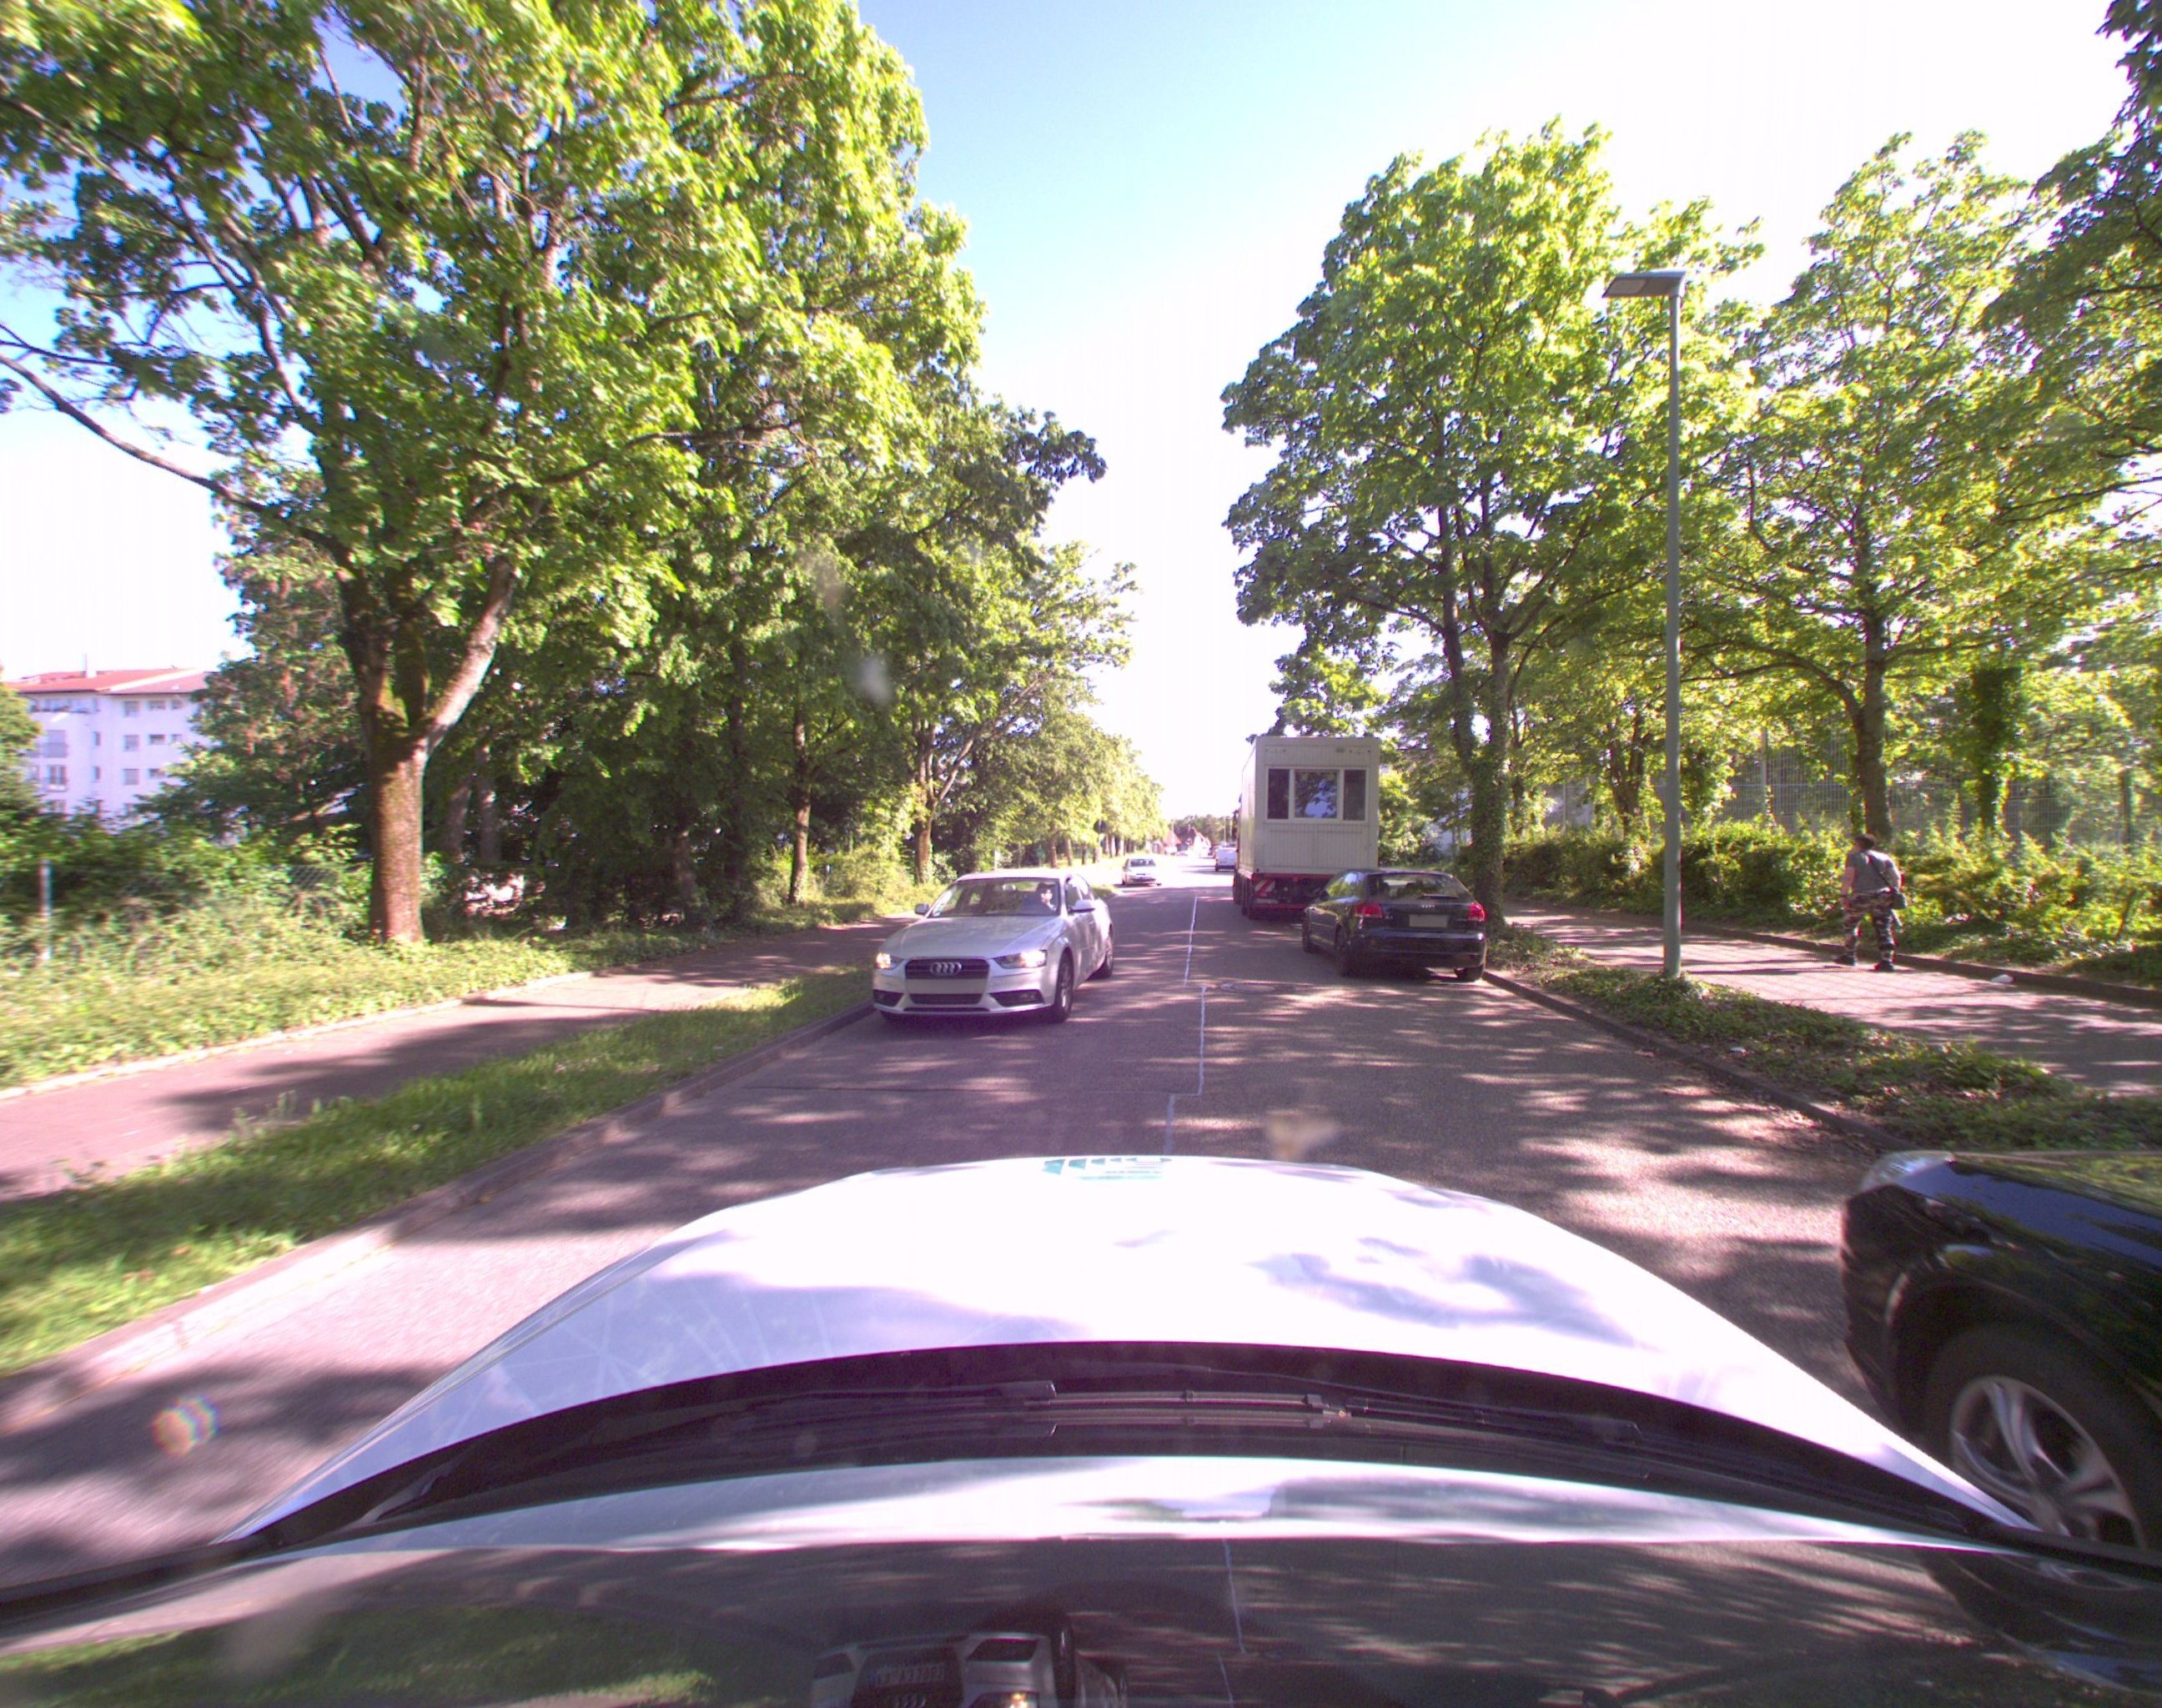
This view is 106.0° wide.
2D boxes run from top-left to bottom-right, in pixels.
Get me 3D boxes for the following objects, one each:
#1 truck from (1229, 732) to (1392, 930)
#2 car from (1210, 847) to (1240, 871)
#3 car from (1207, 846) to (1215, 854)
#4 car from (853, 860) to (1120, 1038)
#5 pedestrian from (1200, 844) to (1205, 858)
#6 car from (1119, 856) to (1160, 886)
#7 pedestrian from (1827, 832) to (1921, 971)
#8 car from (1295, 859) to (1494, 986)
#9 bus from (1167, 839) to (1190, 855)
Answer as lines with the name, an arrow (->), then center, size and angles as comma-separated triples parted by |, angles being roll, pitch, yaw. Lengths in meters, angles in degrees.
truck -> 5.601, -0.525, 21.787 | 2.757, 3.995, 10.371 | 1, 0, 8
car -> 11.222, 0.366, 63.691 | 1.937, 1.843, 4.006 | 0, 0, 5
car -> 29.416, -0.899, 184.343 | 1.771, 1.808, 4.009 | -1, 0, 8
car -> -0.727, 0.826, 8.937 | 1.776, 1.416, 4.116 | -2, 0, 10
pedestrian -> 19.057, -0.447, 127.718 | 0.747, 2.113, 0.801 | 2, 0, 11
car -> 2.930, 0.822, 41.265 | 1.799, 1.420, 3.959 | -2, 0, 0
pedestrian -> 9.527, 0.541, 9.810 | 0.567, 1.608, 0.674 | 0, 0, 17
car -> 4.215, 0.820, 11.610 | 1.632, 1.420, 4.006 | 1, 0, 6
bus -> 20.825, -1.468, 173.849 | 4.039, 3.349, 9.830 | -1, 0, 11
